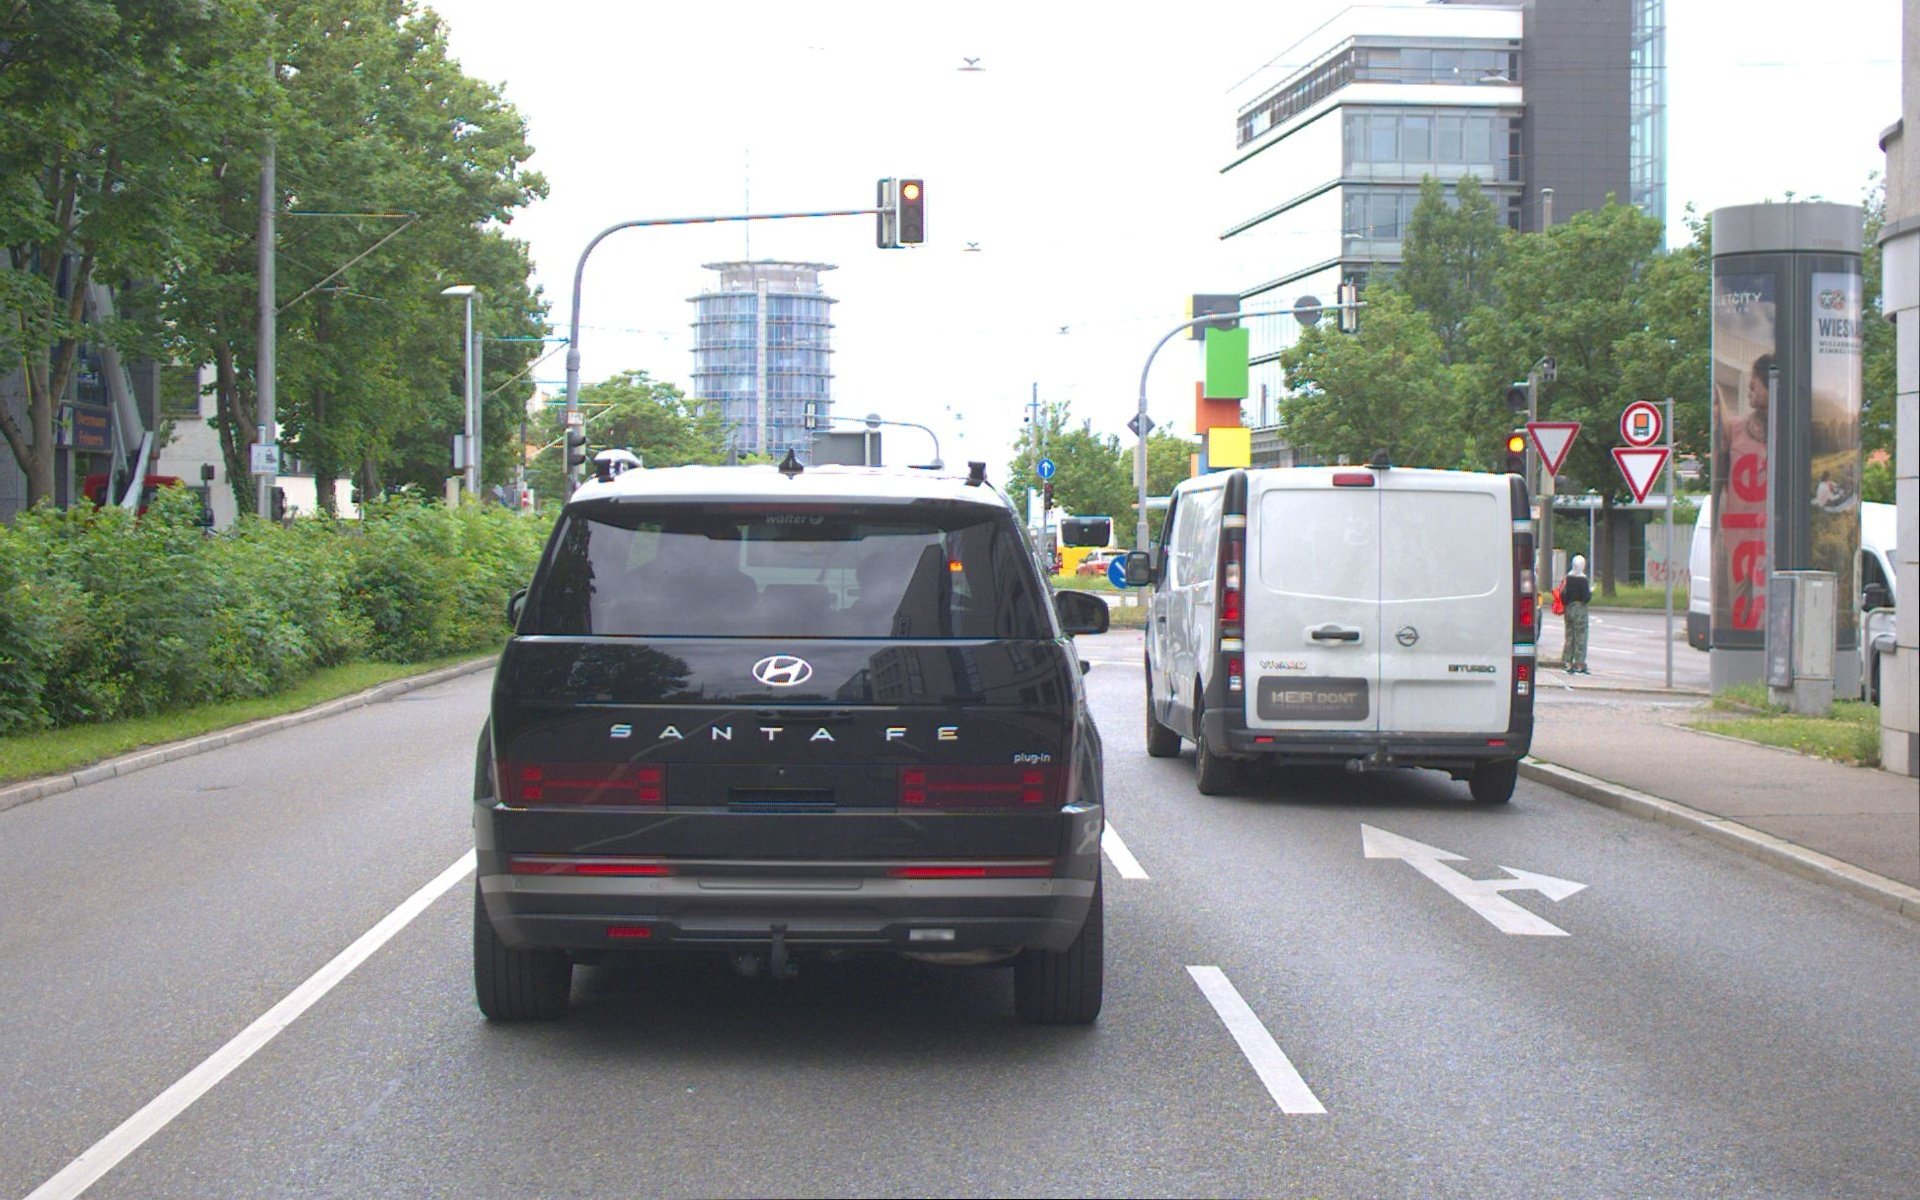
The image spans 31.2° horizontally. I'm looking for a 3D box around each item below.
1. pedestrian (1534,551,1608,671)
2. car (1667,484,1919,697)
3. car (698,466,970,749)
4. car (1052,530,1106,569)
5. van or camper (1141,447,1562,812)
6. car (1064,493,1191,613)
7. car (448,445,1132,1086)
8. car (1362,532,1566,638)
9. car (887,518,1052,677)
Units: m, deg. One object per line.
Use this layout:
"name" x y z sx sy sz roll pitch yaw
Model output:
"pedestrian" 8.190 0.148 46.058 0.738 1.579 0.573 1 2 -41
"car" 11.658 -0.140 44.560 2.297 2.564 5.839 1 0 -17
"car" -0.927 0.018 26.234 1.915 1.996 3.880 0 1 -1
"car" 5.233 -2.230 151.514 1.993 1.678 4.001 1 0 -3
"van or camper" 2.303 0.122 21.471 1.993 2.007 4.653 1 1 -1
"car" 2.894 -0.812 60.199 1.993 2.007 4.000 1 0 0
"car" -0.498 0.419 11.358 1.869 1.754 3.880 0 1 -1
"car" 8.260 -0.258 56.656 1.698 1.678 3.791 1 0 -20
"car" 0.136 -0.047 39.751 1.776 1.711 4.338 1 0 1
